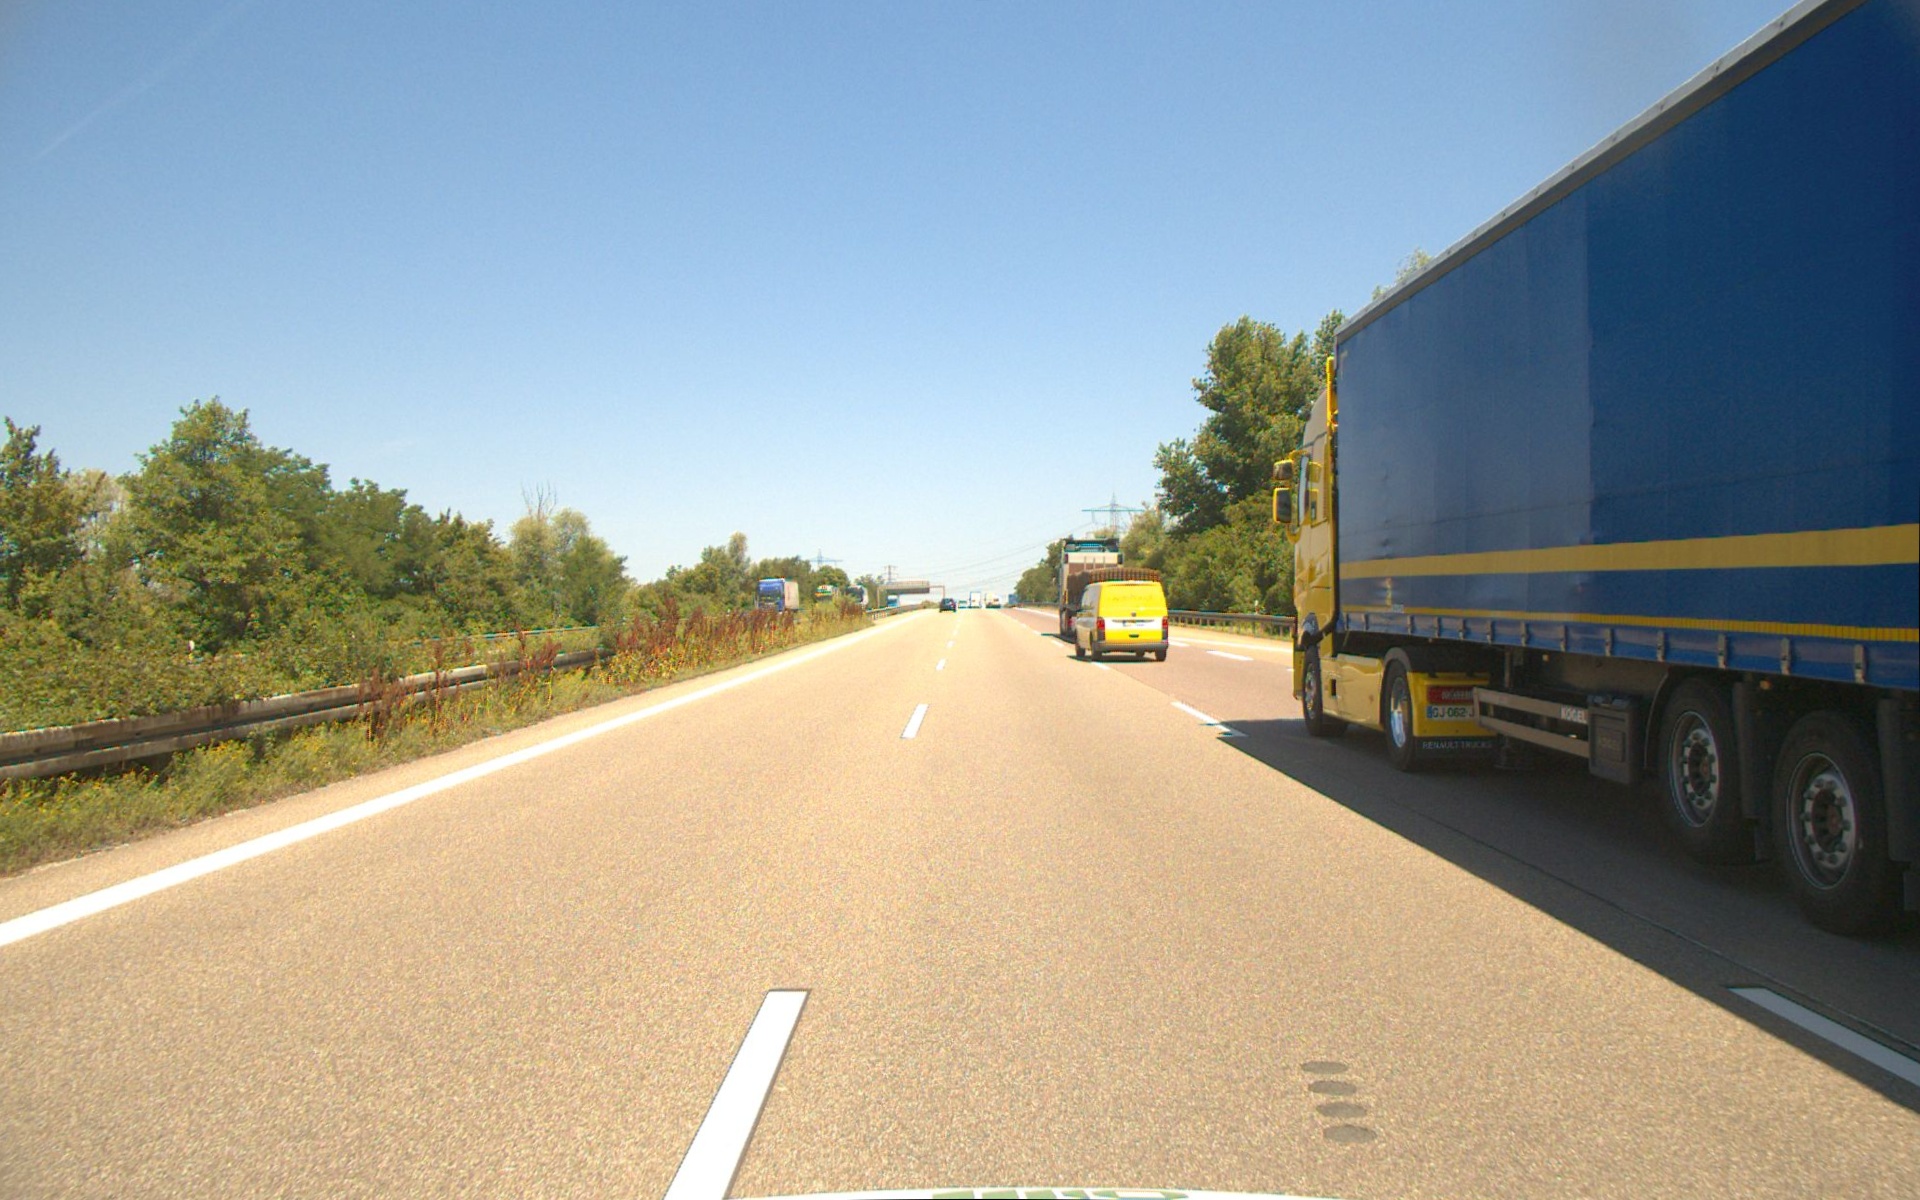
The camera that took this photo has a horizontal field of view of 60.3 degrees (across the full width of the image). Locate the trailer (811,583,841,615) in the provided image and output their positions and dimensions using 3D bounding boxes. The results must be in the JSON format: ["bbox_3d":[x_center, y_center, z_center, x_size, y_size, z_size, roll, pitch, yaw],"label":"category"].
[{"bbox_3d":[-18.264,-0.149,225.865,2.862,4.036,11.650,-3,0,0],"label":"trailer"}]

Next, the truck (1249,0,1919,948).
[{"bbox_3d":[4.991,-0.828,11.595,2.787,4.332,16.789,-2,-1,0],"label":"truck"}]

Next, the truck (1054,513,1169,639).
[{"bbox_3d":[5.317,-0.699,61.159,2.908,4.026,16.613,0,-1,1],"label":"truck"}]

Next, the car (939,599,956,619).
[{"bbox_3d":[-1.293,0.943,172.576,1.754,2.049,3.887,0,-1,1],"label":"car"}]

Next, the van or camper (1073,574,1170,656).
[{"bbox_3d":[4.038,0.357,41.989,1.953,1.942,4.971,0,0,0],"label":"van or camper"}]

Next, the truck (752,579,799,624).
[{"bbox_3d":[-19.028,0.121,171.849,2.894,4.418,17.469,-1,0,0],"label":"truck"}]
